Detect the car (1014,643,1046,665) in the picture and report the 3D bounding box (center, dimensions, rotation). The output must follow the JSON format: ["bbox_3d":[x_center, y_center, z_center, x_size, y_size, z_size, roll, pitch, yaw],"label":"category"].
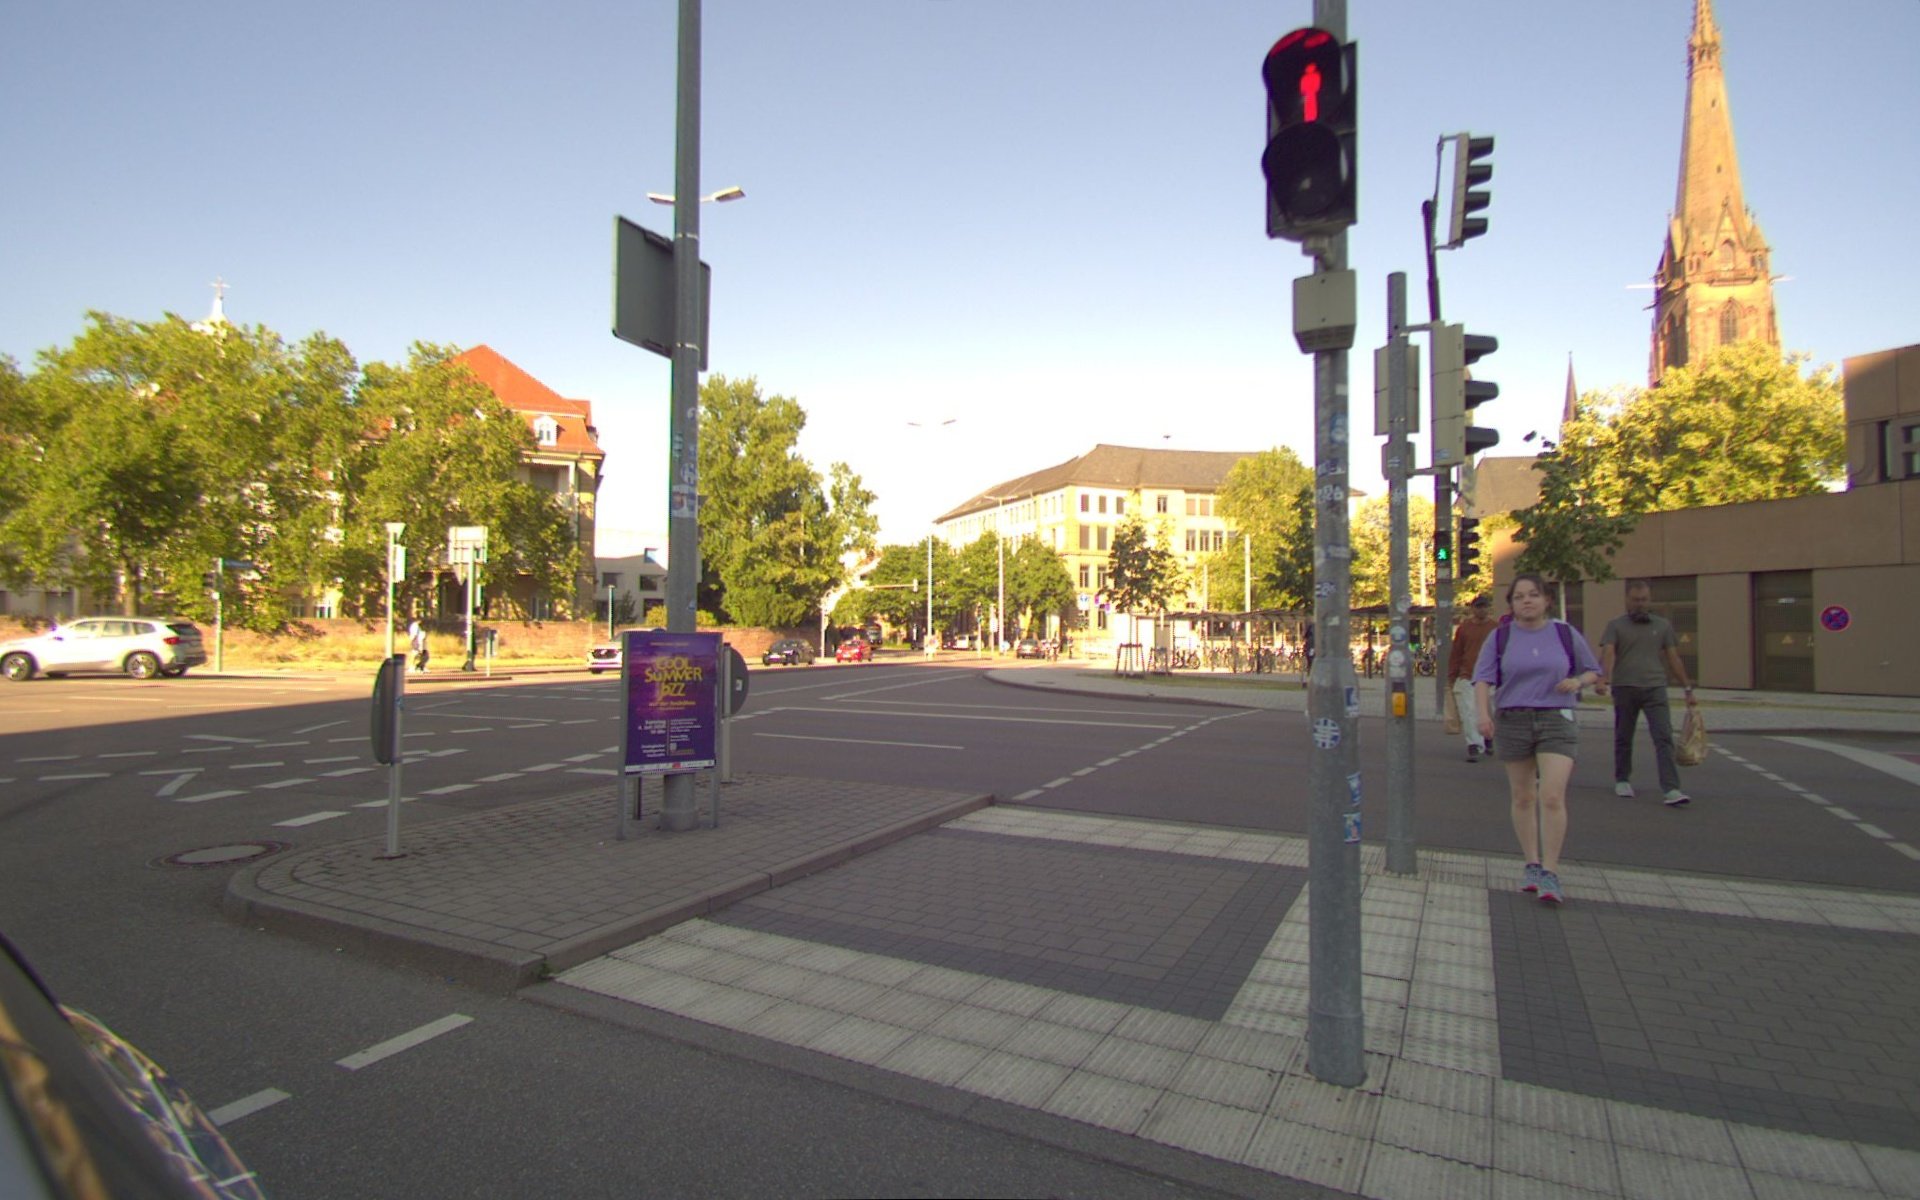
[{"bbox_3d":[5.091,3.895,73.493,1.788,1.455,3.963,-1,-1,12],"label":"car"}]

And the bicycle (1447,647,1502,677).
[{"bbox_3d":[19.143,2.303,37.720,0.514,1.051,1.854,-1,-1,-27],"label":"bicycle"}]

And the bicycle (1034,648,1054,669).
[{"bbox_3d":[5.224,3.629,62.929,0.758,1.196,2.593,-2,-3,14],"label":"bicycle"}]

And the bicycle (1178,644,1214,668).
[{"bbox_3d":[11.405,2.698,48.928,0.671,1.062,1.943,-1,-1,-23],"label":"bicycle"}]

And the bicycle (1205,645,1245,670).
[{"bbox_3d":[12.323,2.670,47.137,0.745,1.062,1.980,-1,-1,-23],"label":"bicycle"}]

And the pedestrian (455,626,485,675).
[{"bbox_3d":[-17.536,1.804,36.226,0.780,1.665,0.715,4,-1,-33],"label":"pedestrian"}]

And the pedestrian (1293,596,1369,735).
[{"bbox_3d":[4.771,0.823,12.986,0.745,1.698,0.890,-2,-3,30],"label":"pedestrian"}]

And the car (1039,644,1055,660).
[{"bbox_3d":[7.646,4.532,88.795,1.367,1.348,3.497,0,-2,6],"label":"car"}]

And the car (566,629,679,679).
[{"bbox_3d":[-12.408,1.975,37.596,2.170,1.697,4.594,-2,-3,8],"label":"car"}]

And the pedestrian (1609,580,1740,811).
[{"bbox_3d":[5.808,0.743,8.286,0.754,1.754,0.918,-1,-3,30],"label":"pedestrian"}]

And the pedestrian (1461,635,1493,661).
[{"bbox_3d":[28.032,2.587,54.884,1.035,1.360,1.082,-1,-3,-21],"label":"pedestrian"}]

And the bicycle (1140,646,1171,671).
[{"bbox_3d":[9.212,2.748,47.759,0.557,1.062,1.979,-1,-1,-18],"label":"bicycle"}]

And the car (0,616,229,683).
[{"bbox_3d":[-22.058,1.293,26.493,4.287,1.633,2.163,1,-2,-20],"label":"car"}]

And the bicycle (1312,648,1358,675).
[{"bbox_3d":[15.610,2.548,42.206,0.594,1.051,2.040,-1,-1,-20],"label":"bicycle"}]

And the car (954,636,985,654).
[{"bbox_3d":[1.264,5.824,130.419,1.996,2.029,4.101,-2,1,36],"label":"car"}]

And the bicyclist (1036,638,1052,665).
[{"bbox_3d":[5.231,3.205,63.033,0.758,1.681,1.057,-2,-3,14],"label":"bicyclist"}]

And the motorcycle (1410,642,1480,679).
[{"bbox_3d":[17.532,2.179,36.637,0.707,1.257,2.364,-1,-3,-22],"label":"motorcycle"}]

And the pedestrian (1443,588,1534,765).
[{"bbox_3d":[5.558,0.781,10.626,0.784,1.754,0.918,-1,-3,30],"label":"pedestrian"}]

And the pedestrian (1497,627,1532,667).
[{"bbox_3d":[28.912,2.475,52.769,1.115,2.029,1.033,-1,-3,-16],"label":"pedestrian"}]

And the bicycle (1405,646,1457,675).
[{"bbox_3d":[18.389,2.365,39.529,0.514,1.051,1.938,-1,-1,-24],"label":"bicycle"}]

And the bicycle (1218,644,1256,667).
[{"bbox_3d":[13.811,2.765,50.508,0.503,1.062,1.979,-1,-1,-31],"label":"bicycle"}]

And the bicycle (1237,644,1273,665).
[{"bbox_3d":[15.078,2.779,51.784,0.489,1.062,1.980,-1,-1,-27],"label":"bicycle"}]

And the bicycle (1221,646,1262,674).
[{"bbox_3d":[11.871,2.522,42.701,0.477,1.114,1.807,-1,-1,-30],"label":"bicycle"}]

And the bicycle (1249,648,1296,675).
[{"bbox_3d":[13.523,2.658,43.858,0.851,1.051,1.938,-1,-1,-26],"label":"bicycle"}]

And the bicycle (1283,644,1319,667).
[{"bbox_3d":[16.579,2.691,49.262,0.411,1.062,1.980,-1,-1,-22],"label":"bicycle"}]

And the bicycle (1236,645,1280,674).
[{"bbox_3d":[12.124,2.403,41.190,0.557,1.114,1.980,-1,-1,-23],"label":"bicycle"}]

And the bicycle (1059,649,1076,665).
[{"bbox_3d":[8.064,4.282,76.082,0.875,1.106,2.176,-1,-2,17],"label":"bicycle"}]

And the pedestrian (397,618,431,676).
[{"bbox_3d":[-18.573,1.590,34.407,0.858,1.908,0.714,4,-1,-35],"label":"pedestrian"}]

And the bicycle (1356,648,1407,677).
[{"bbox_3d":[16.123,2.392,38.775,0.514,1.051,1.854,-1,-1,-28],"label":"bicycle"}]

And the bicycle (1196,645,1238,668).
[{"bbox_3d":[12.658,2.756,49.941,0.823,1.062,2.126,-1,-1,-25],"label":"bicycle"}]

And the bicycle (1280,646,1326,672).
[{"bbox_3d":[14.944,2.576,44.160,0.754,1.051,1.938,-1,-1,-26],"label":"bicycle"}]

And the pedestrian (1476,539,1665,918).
[{"bbox_3d":[3.162,0.615,5.297,0.754,1.754,0.918,-1,-3,30],"label":"pedestrian"}]

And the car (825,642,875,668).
[{"bbox_3d":[-7.080,3.544,65.789,2.170,1.598,4.594,-2,-3,8],"label":"car"}]

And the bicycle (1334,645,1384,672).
[{"bbox_3d":[16.914,2.472,42.919,0.594,1.051,2.115,-1,-1,-25],"label":"bicycle"}]

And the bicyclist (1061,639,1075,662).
[{"bbox_3d":[8.098,3.776,76.014,0.858,1.666,0.940,-1,-3,15],"label":"bicyclist"}]

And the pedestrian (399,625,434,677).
[{"bbox_3d":[-18.154,1.708,33.800,0.858,1.687,0.714,4,-1,-35],"label":"pedestrian"}]

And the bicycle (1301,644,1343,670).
[{"bbox_3d":[16.055,2.505,44.892,0.527,1.097,1.938,-1,-1,-24],"label":"bicycle"}]

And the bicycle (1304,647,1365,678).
[{"bbox_3d":[13.802,2.305,37.402,0.732,1.114,2.131,-1,-3,-27],"label":"bicycle"}]

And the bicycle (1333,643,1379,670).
[{"bbox_3d":[17.447,2.483,44.655,0.557,1.097,2.078,-1,-1,-24],"label":"bicycle"}]

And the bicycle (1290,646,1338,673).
[{"bbox_3d":[14.594,2.450,41.787,0.594,1.051,2.040,-1,-1,-23],"label":"bicycle"}]

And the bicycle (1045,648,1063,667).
[{"bbox_3d":[6.237,3.775,67.077,0.758,1.196,2.593,-2,-3,14],"label":"bicycle"}]

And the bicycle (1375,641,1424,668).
[{"bbox_3d":[19.052,2.367,43.951,0.557,1.097,2.078,-1,-1,-24],"label":"bicycle"}]

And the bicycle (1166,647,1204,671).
[{"bbox_3d":[10.294,2.689,46.366,0.557,1.062,1.980,-1,-1,-26],"label":"bicycle"}]

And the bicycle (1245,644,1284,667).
[{"bbox_3d":[14.599,2.647,48.532,0.557,1.062,1.980,-1,-1,-26],"label":"bicycle"}]

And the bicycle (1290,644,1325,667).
[{"bbox_3d":[16.964,2.686,49.429,0.411,1.062,1.980,-1,-1,-22],"label":"bicycle"}]

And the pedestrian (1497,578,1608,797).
[{"bbox_3d":[5.095,0.725,8.734,0.754,1.754,0.918,-1,-3,30],"label":"pedestrian"}]

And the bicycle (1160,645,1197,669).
[{"bbox_3d":[10.492,2.722,48.632,0.671,1.062,2.029,-1,-1,-23],"label":"bicycle"}]

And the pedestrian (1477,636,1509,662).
[{"bbox_3d":[29.118,2.667,55.313,1.035,1.360,1.082,-1,-3,-21],"label":"pedestrian"}]

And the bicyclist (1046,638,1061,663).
[{"bbox_3d":[6.219,3.341,67.065,0.758,1.681,1.057,-2,-3,14],"label":"bicyclist"}]

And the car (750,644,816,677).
[{"bbox_3d":[-9.336,3.158,53.787,2.170,1.598,4.594,-2,-3,8],"label":"car"}]
